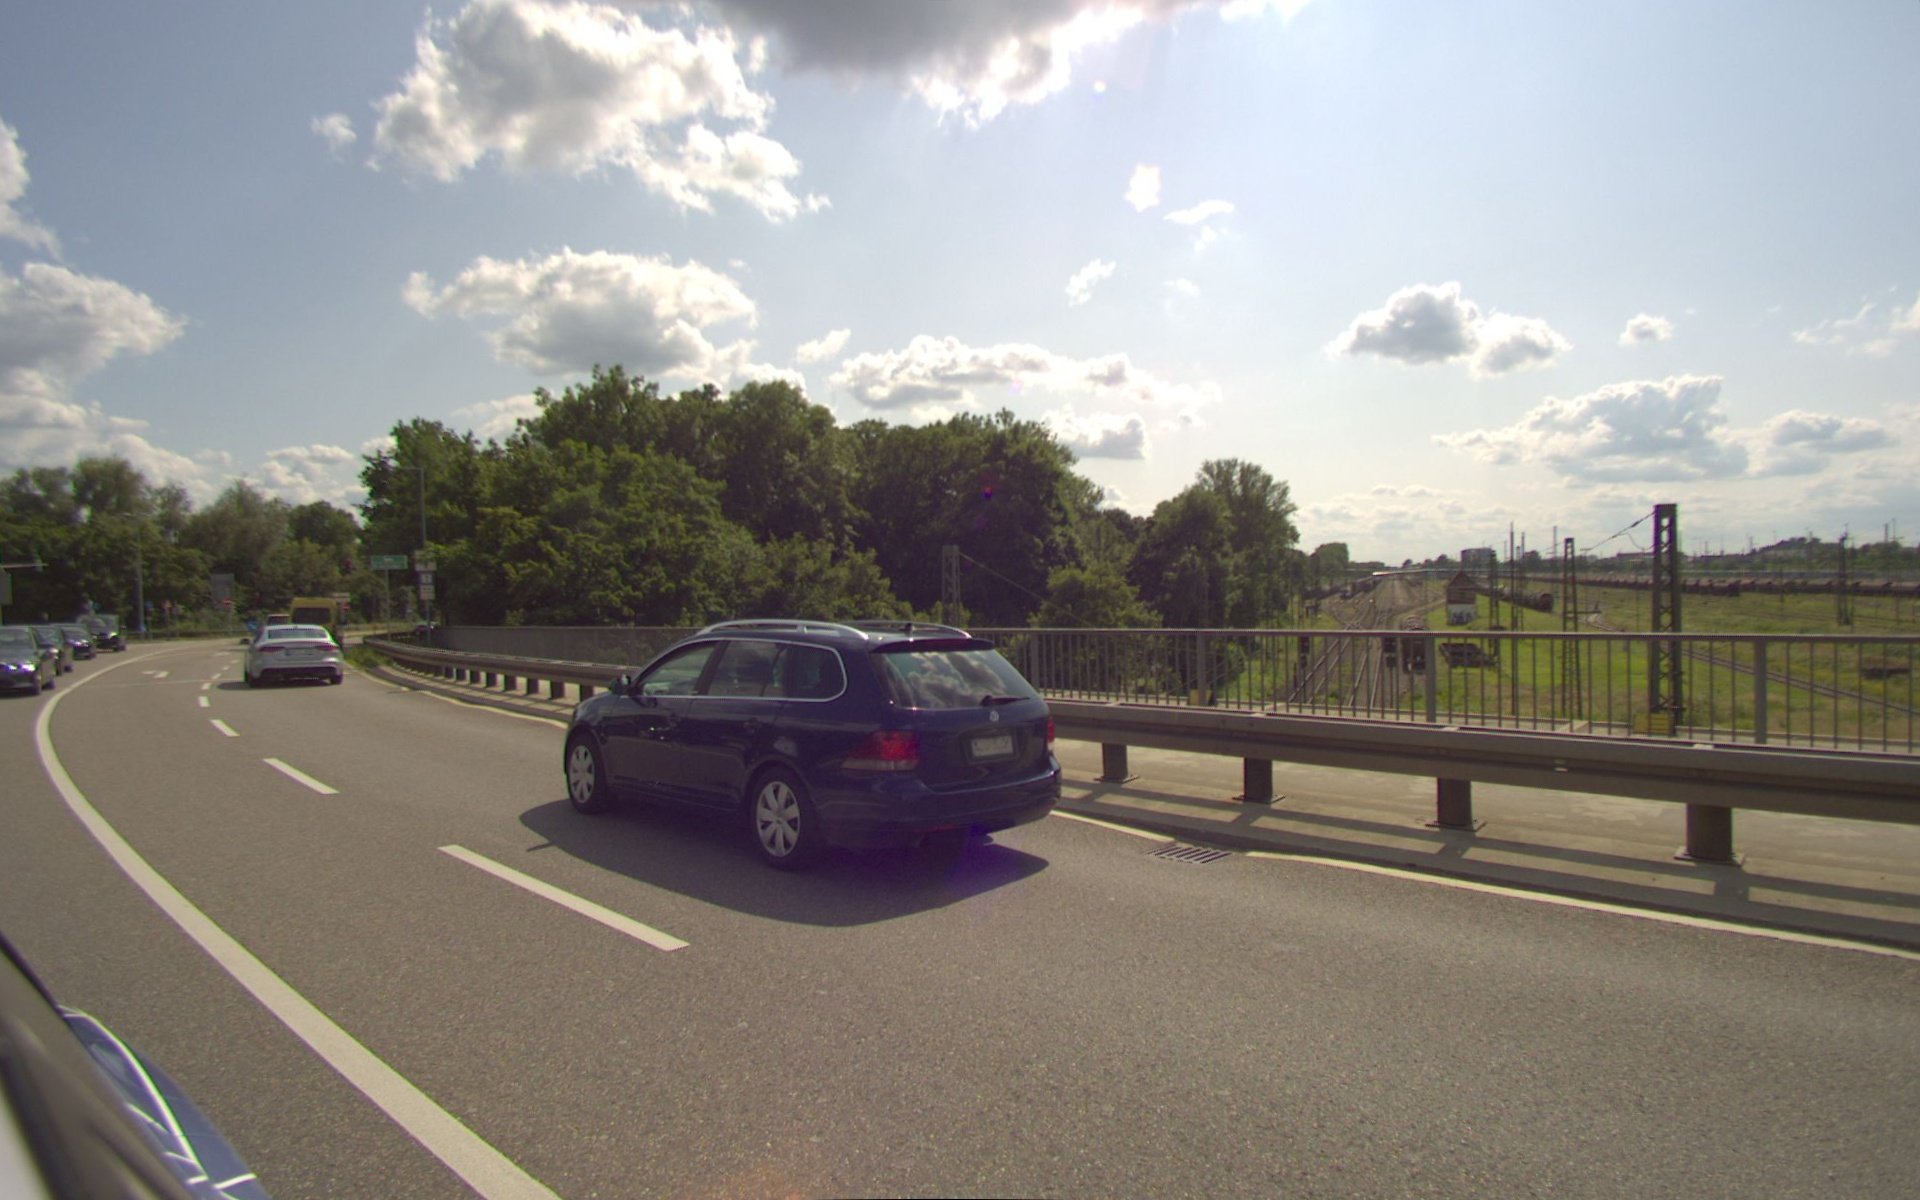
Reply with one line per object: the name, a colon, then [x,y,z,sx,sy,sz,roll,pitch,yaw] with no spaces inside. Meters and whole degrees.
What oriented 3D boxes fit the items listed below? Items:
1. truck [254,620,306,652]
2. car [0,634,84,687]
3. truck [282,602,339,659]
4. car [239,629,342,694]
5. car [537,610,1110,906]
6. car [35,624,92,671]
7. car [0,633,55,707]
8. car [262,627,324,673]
truck: [-42.890,2.257,63.926,1.933,1.927,5.387,0,-1,-25]
car: [-27.684,1.771,30.343,1.794,1.347,4.739,-3,1,-38]
truck: [-31.956,1.502,49.919,1.966,2.641,6.122,2,-2,-29]
car: [-16.410,1.431,24.707,1.771,1.385,4.589,0,-1,-38]
car: [-1.210,0.841,7.125,4.326,1.465,1.640,-2,-2,43]
car: [-36.180,1.870,40.870,1.613,1.525,3.726,-3,4,-41]
car: [-20.354,1.415,21.178,1.830,1.373,4.008,1,-1,-38]
car: [-23.466,1.719,35.727,1.724,1.460,4.349,0,-1,-32]
